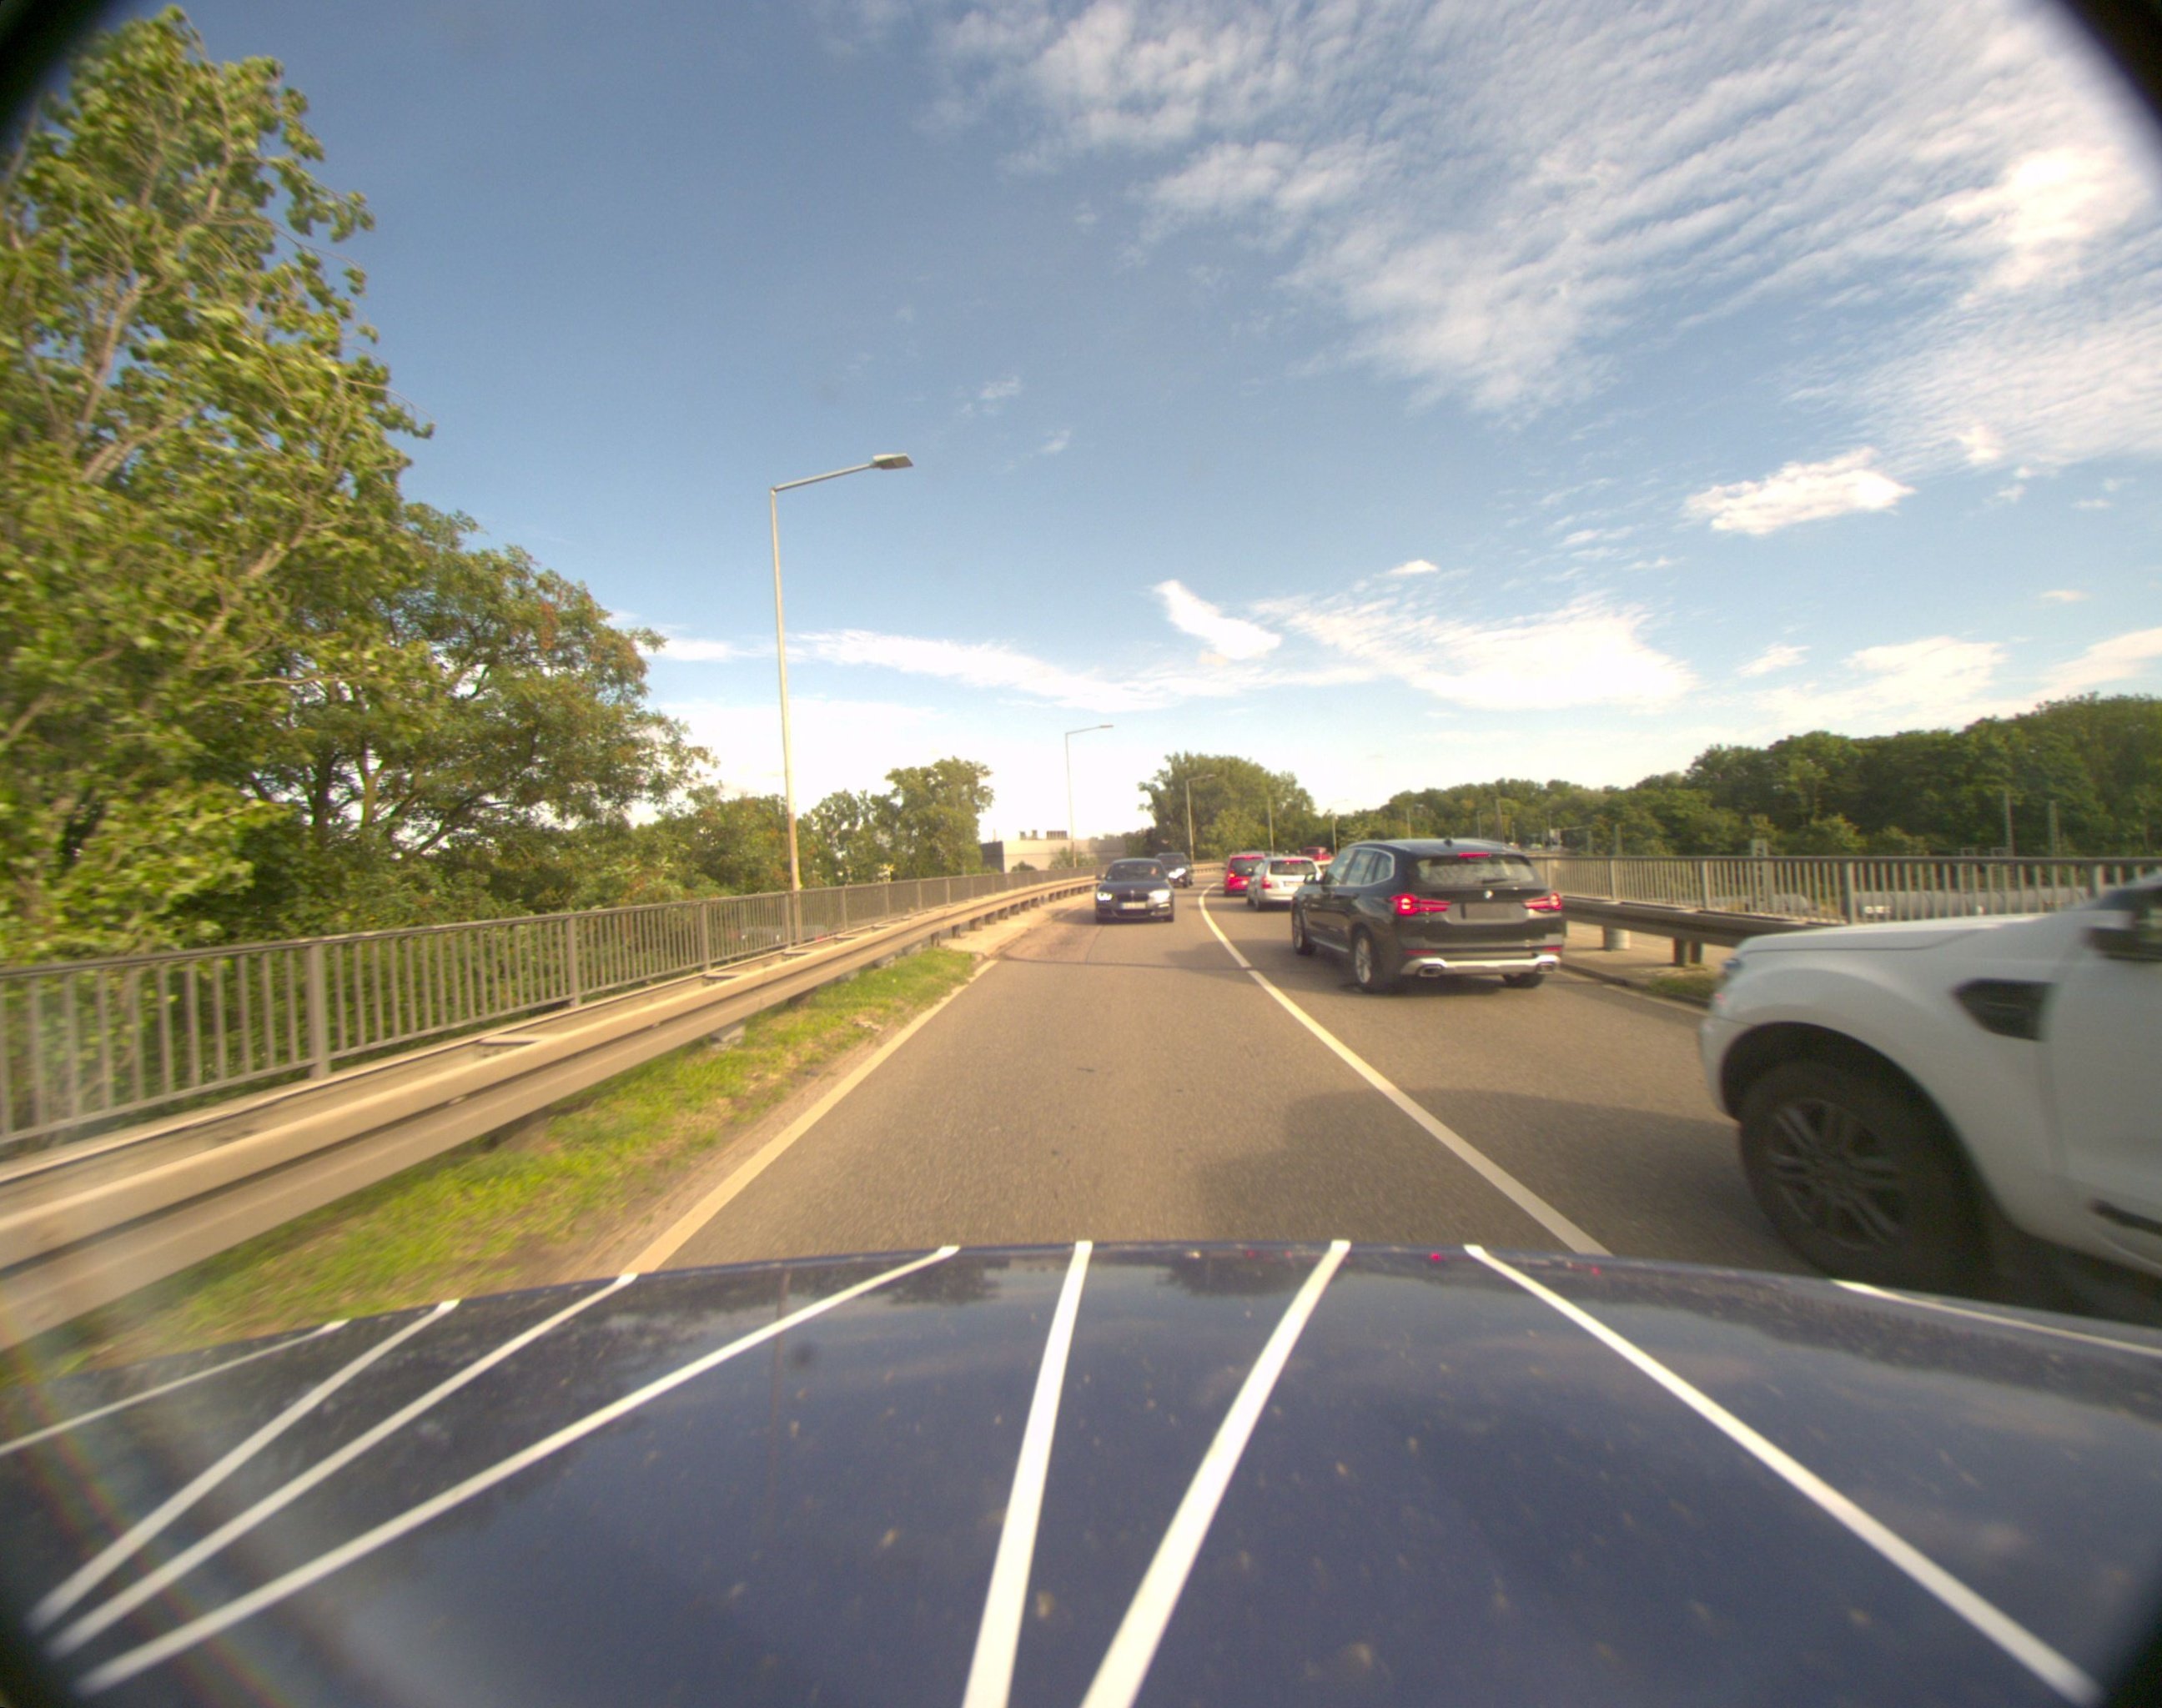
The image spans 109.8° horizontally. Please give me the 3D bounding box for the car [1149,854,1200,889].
[{"bbox_3d":[4.528,0.801,36.354,1.816,1.498,4.396,-1,0,15],"label":"car"}]

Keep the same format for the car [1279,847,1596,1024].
[{"bbox_3d":[3.965,0.764,9.487,1.894,1.639,4.642,-1,0,2],"label":"car"}]

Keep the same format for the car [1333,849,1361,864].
[{"bbox_3d":[29.151,0.284,83.189,1.753,1.600,4.322,-1,0,34],"label":"car"}]

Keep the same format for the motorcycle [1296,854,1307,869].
[{"bbox_3d":[18.867,0.656,64.915,0.621,1.245,1.795,-1,0,25],"label":"motorcycle"}]

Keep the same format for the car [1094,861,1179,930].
[{"bbox_3d":[1.398,0.899,18.136,1.785,1.396,3.972,-1,0,6],"label":"car"}]

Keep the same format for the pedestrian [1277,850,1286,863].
[{"bbox_3d":[23.623,0.328,89.553,0.677,1.535,0.962,-1,1,33],"label":"pedestrian"}]

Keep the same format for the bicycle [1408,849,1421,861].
[{"bbox_3d":[39.000,0.074,88.879,0.764,1.324,1.920,-1,1,41],"label":"bicycle"}]

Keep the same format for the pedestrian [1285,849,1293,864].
[{"bbox_3d":[24.706,0.291,90.278,0.677,1.652,0.867,-1,1,33],"label":"pedestrian"}]

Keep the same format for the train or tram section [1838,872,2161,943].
[{"bbox_3d":[67.302,3.840,55.656,16.708,4.685,3.102,-2,1,25],"label":"train or tram section"}]

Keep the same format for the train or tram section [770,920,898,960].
[{"bbox_3d":[-30.489,10.444,93.226,17.261,4.121,3.101,-2,1,24],"label":"train or tram section"}]

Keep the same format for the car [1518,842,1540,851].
[{"bbox_3d":[74.079,-1.231,125.663,4.085,1.492,1.741,-1,0,-39],"label":"car"}]

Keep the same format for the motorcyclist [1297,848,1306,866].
[{"bbox_3d":[18.816,0.233,64.841,0.621,1.544,0.939,-1,1,26],"label":"motorcyclist"}]

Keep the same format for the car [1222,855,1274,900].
[{"bbox_3d":[5.939,0.791,27.345,1.602,1.456,3.739,-1,0,9],"label":"car"}]

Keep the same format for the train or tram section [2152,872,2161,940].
[{"bbox_3d":[82.343,3.417,48.561,16.708,4.685,3.102,-2,1,25],"label":"train or tram section"}]

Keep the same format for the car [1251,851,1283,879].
[{"bbox_3d":[11.798,0.646,48.092,1.683,1.639,4.303,-1,0,17],"label":"car"}]

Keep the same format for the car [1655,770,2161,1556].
[{"bbox_3d":[3.427,0.695,0.529,1.905,1.800,5.403,-1,0,-1],"label":"car"}]

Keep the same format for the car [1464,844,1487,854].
[{"bbox_3d":[60.656,-0.773,116.887,4.085,1.492,1.741,-1,0,-41],"label":"car"}]

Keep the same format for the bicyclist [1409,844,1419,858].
[{"bbox_3d":[38.990,-0.350,88.892,0.766,1.651,1.122,-1,1,40],"label":"bicyclist"}]

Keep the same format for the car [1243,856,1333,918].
[{"bbox_3d":[5.398,0.789,20.287,1.735,1.447,4.267,-2,0,7],"label":"car"}]

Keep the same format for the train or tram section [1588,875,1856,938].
[{"bbox_3d":[52.155,4.266,62.858,16.708,4.685,3.102,-2,1,25],"label":"train or tram section"}]

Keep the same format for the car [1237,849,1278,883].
[{"bbox_3d":[9.511,0.599,40.745,1.928,1.639,4.593,-1,0,15],"label":"car"}]

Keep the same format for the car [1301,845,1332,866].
[{"bbox_3d":[22.494,0.130,72.429,2.009,1.892,4.876,-1,0,26],"label":"car"}]
